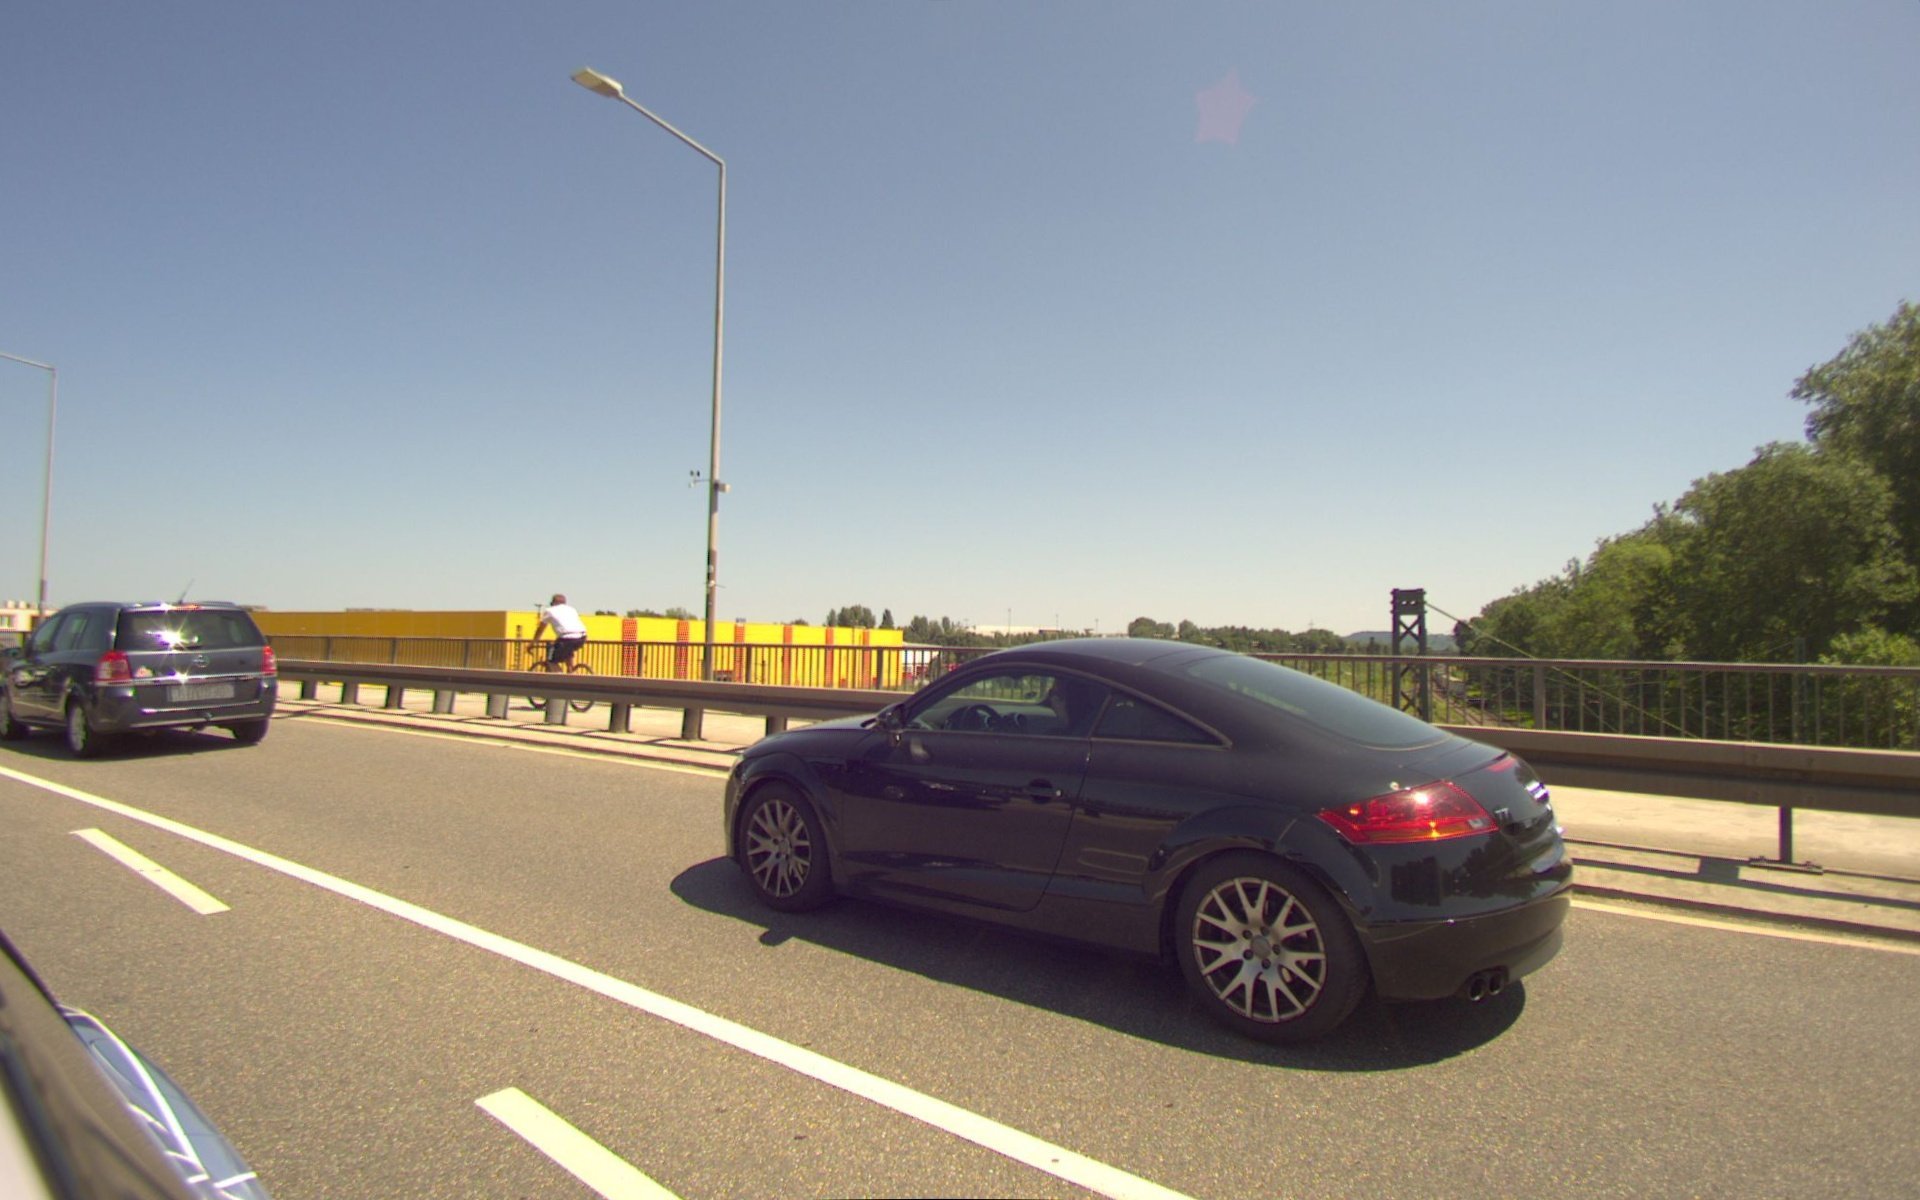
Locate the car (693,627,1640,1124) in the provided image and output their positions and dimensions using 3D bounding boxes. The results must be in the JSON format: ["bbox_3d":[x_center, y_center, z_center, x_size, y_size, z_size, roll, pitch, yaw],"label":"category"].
[{"bbox_3d":[0.666,0.800,4.663,3.968,1.318,1.662,-1,-1,39],"label":"car"}]

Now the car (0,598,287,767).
[{"bbox_3d":[-9.710,0.849,11.756,4.242,1.639,1.692,-1,-2,35],"label":"car"}]

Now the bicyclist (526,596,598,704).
[{"bbox_3d":[-5.860,0.724,14.897,0.893,1.533,0.579,-1,-1,32],"label":"bicyclist"}]

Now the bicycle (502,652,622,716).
[{"bbox_3d":[-5.882,1.216,14.911,1.985,0.840,0.583,-1,-1,32],"label":"bicycle"}]
